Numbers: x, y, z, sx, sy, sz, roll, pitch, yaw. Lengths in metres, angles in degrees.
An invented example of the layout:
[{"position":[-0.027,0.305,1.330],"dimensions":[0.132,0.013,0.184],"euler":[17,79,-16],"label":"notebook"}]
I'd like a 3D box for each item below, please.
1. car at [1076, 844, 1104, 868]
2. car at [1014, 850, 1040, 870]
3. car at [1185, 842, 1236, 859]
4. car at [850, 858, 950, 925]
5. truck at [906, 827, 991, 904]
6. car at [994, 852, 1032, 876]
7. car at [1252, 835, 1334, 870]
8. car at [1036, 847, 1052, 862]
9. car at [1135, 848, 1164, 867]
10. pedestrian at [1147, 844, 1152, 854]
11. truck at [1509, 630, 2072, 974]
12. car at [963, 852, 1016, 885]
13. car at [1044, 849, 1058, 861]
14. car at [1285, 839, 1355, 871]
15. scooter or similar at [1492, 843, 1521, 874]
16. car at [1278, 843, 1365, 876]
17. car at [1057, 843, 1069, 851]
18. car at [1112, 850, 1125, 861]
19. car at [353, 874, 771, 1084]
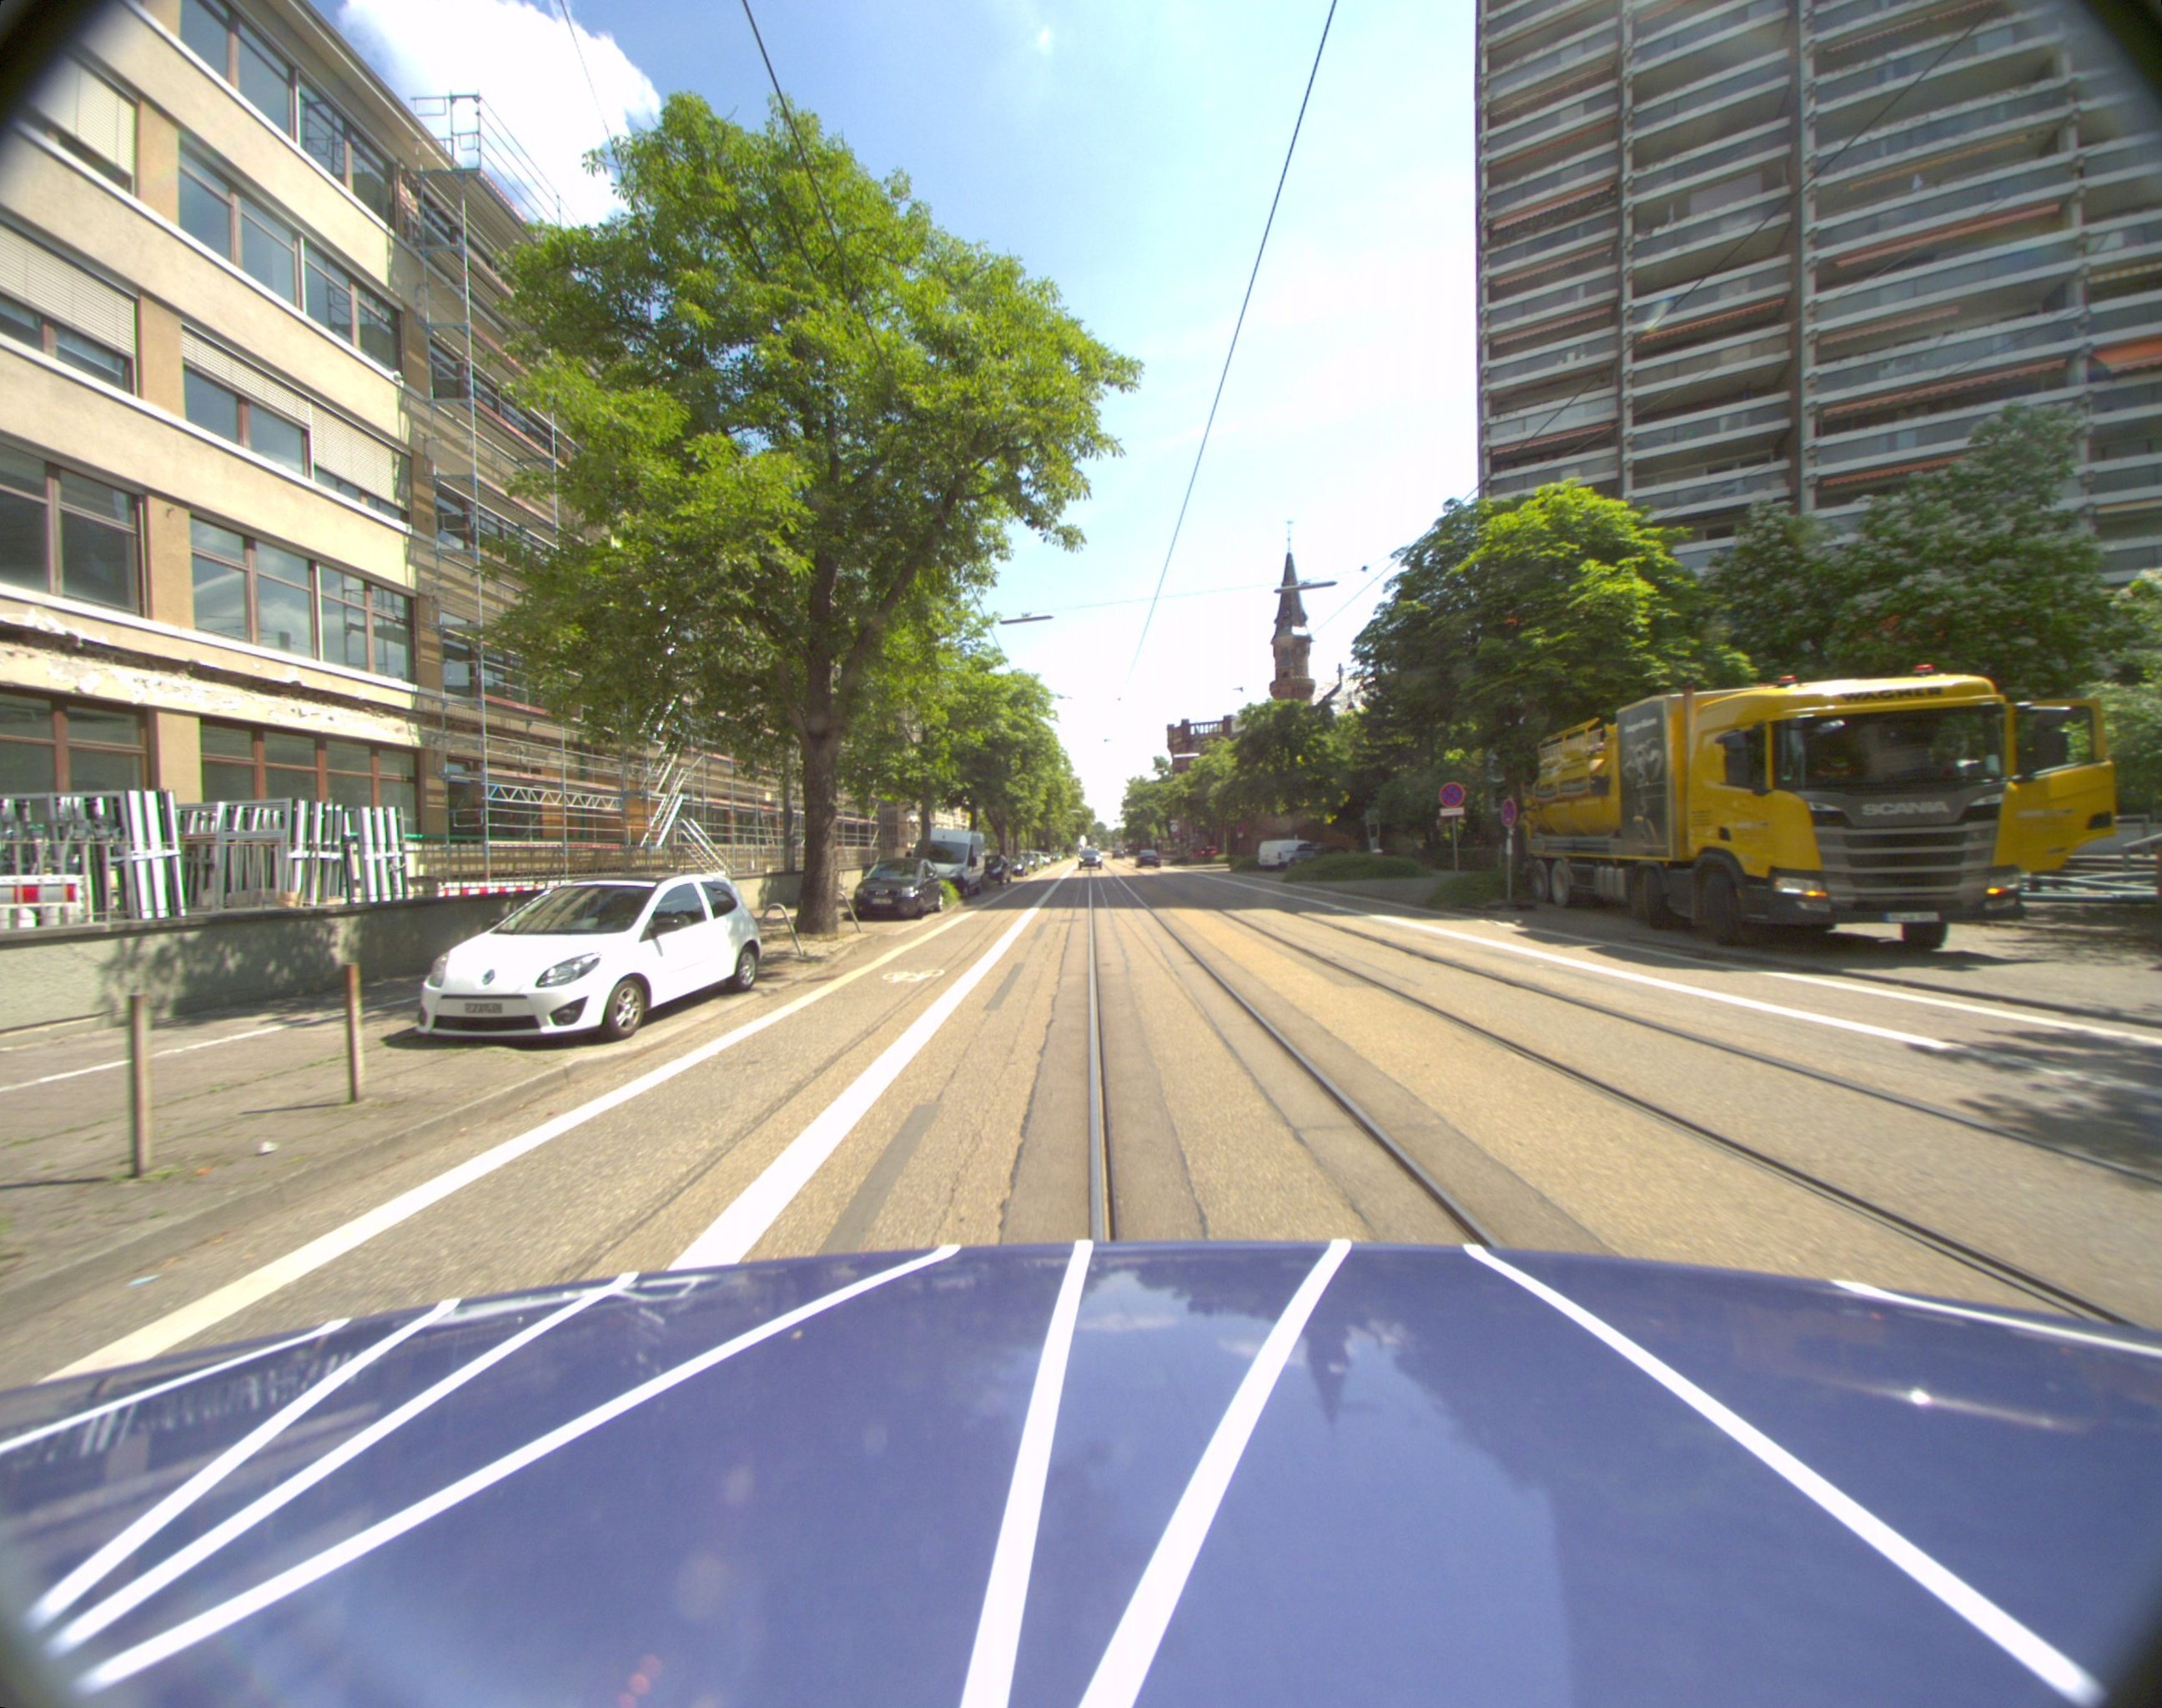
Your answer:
[{"position":[0.687,0.157,59.128],"dimensions":[1.998,1.732,4.226],"euler":[-3,0,0],"label":"car"},{"position":[-4.189,0.438,59.480],"dimensions":[1.675,1.429,4.041],"euler":[-1,0,0],"label":"car"},{"position":[13.014,-0.349,76.434],"dimensions":[4.787,1.557,1.997],"euler":[-2,1,-28],"label":"car"},{"position":[-4.668,0.913,20.127],"dimensions":[1.648,1.525,3.946],"euler":[-1,0,0],"label":"car"},{"position":[-4.670,0.348,27.767],"dimensions":[2.019,2.474,5.955],"euler":[-1,0,0],"label":"truck"},{"position":[-4.347,0.601,49.202],"dimensions":[1.829,1.463,4.486],"euler":[-1,0,2],"label":"car"},{"position":[12.262,-0.100,43.819],"dimensions":[4.555,1.781,1.896],"euler":[-3,1,-32],"label":"car"},{"position":[-3.955,0.055,81.705],"dimensions":[1.676,1.490,4.364],"euler":[-1,0,-3],"label":"car"},{"position":[5.457,0.264,60.852],"dimensions":[1.779,1.389,4.286],"euler":[-2,0,-2],"label":"car"},{"position":[11.926,-0.866,132.399],"dimensions":[0.801,1.579,0.919],"euler":[-4,1,0],"label":"pedestrian"},{"position":[11.122,-0.683,14.124],"dimensions":[2.719,3.820,10.973],"euler":[-3,1,15],"label":"truck"},{"position":[-4.532,0.684,38.235],"dimensions":[1.828,1.463,4.401],"euler":[-1,0,3],"label":"car"},{"position":[-3.957,0.097,101.674],"dimensions":[1.675,1.481,3.980],"euler":[-1,0,0],"label":"car"},{"position":[12.938,0.058,41.066],"dimensions":[3.958,1.523,1.768],"euler":[-3,1,-41],"label":"car"},{"position":[16.026,0.158,28.649],"dimensions":[0.384,1.117,1.369],"euler":[-3,1,5],"label":"scooter or similar"},{"position":[11.769,0.239,37.050],"dimensions":[4.455,1.386,1.768],"euler":[-3,1,-38],"label":"car"},{"position":[-3.108,-1.219,132.229],"dimensions":[1.756,1.263,3.833],"euler":[-3,0,1],"label":"car"},{"position":[5.951,0.226,119.907],"dimensions":[1.835,1.671,4.184],"euler":[-1,0,1],"label":"car"},{"position":[-4.921,1.053,7.963],"dimensions":[1.648,1.525,3.785],"euler":[-1,0,2],"label":"car"}]
